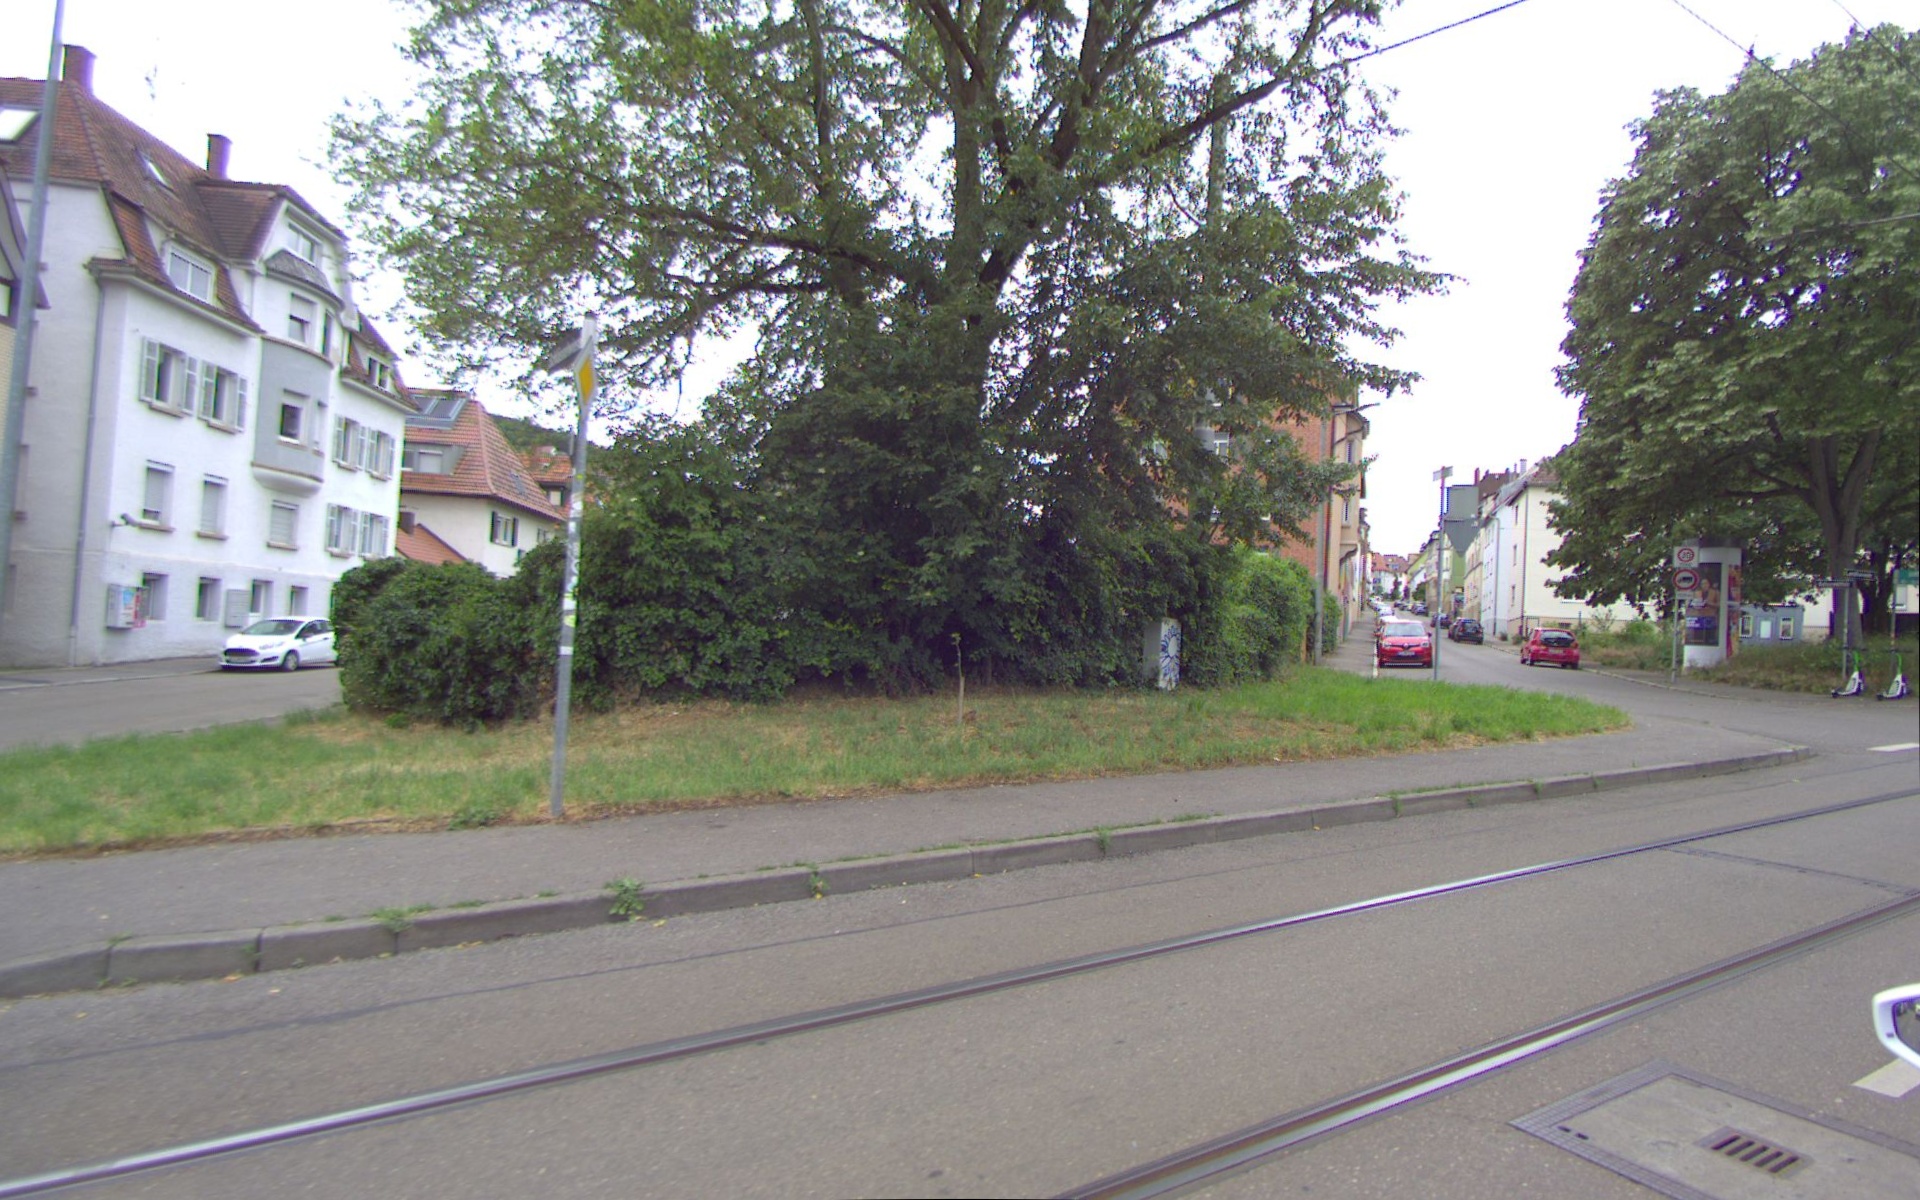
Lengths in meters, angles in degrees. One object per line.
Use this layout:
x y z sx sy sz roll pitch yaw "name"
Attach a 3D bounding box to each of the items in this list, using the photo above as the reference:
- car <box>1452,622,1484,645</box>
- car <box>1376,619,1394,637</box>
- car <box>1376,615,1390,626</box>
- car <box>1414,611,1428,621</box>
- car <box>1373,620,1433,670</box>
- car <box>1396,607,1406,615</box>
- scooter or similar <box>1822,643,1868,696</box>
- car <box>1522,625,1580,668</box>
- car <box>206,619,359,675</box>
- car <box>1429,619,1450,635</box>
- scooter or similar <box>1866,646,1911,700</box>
34.899 2.304 69.080 1.644 1.434 3.729 2 0 23 "car"
38.754 2.533 91.635 1.429 1.498 3.781 2 -2 22 "car"
47.574 2.301 113.005 1.429 1.252 3.420 2 0 23 "car"
65.348 2.273 142.440 1.644 1.434 3.729 2 0 23 "car"
14.843 1.471 33.776 1.716 1.497 3.612 2 0 23 "car"
84.697 2.075 193.043 1.644 1.434 3.729 2 0 23 "car"
20.940 1.626 23.751 1.698 1.161 0.310 0 1 -31 "scooter or similar"
22.513 1.745 38.368 1.622 1.434 3.727 2 0 26 "car"
-18.428 1.251 27.536 1.662 1.421 3.857 1 -2 -3 "car"
46.717 2.569 97.838 1.644 1.434 3.729 2 0 23 "car"
21.483 1.678 23.233 1.698 1.161 0.310 0 1 -31 "scooter or similar"
